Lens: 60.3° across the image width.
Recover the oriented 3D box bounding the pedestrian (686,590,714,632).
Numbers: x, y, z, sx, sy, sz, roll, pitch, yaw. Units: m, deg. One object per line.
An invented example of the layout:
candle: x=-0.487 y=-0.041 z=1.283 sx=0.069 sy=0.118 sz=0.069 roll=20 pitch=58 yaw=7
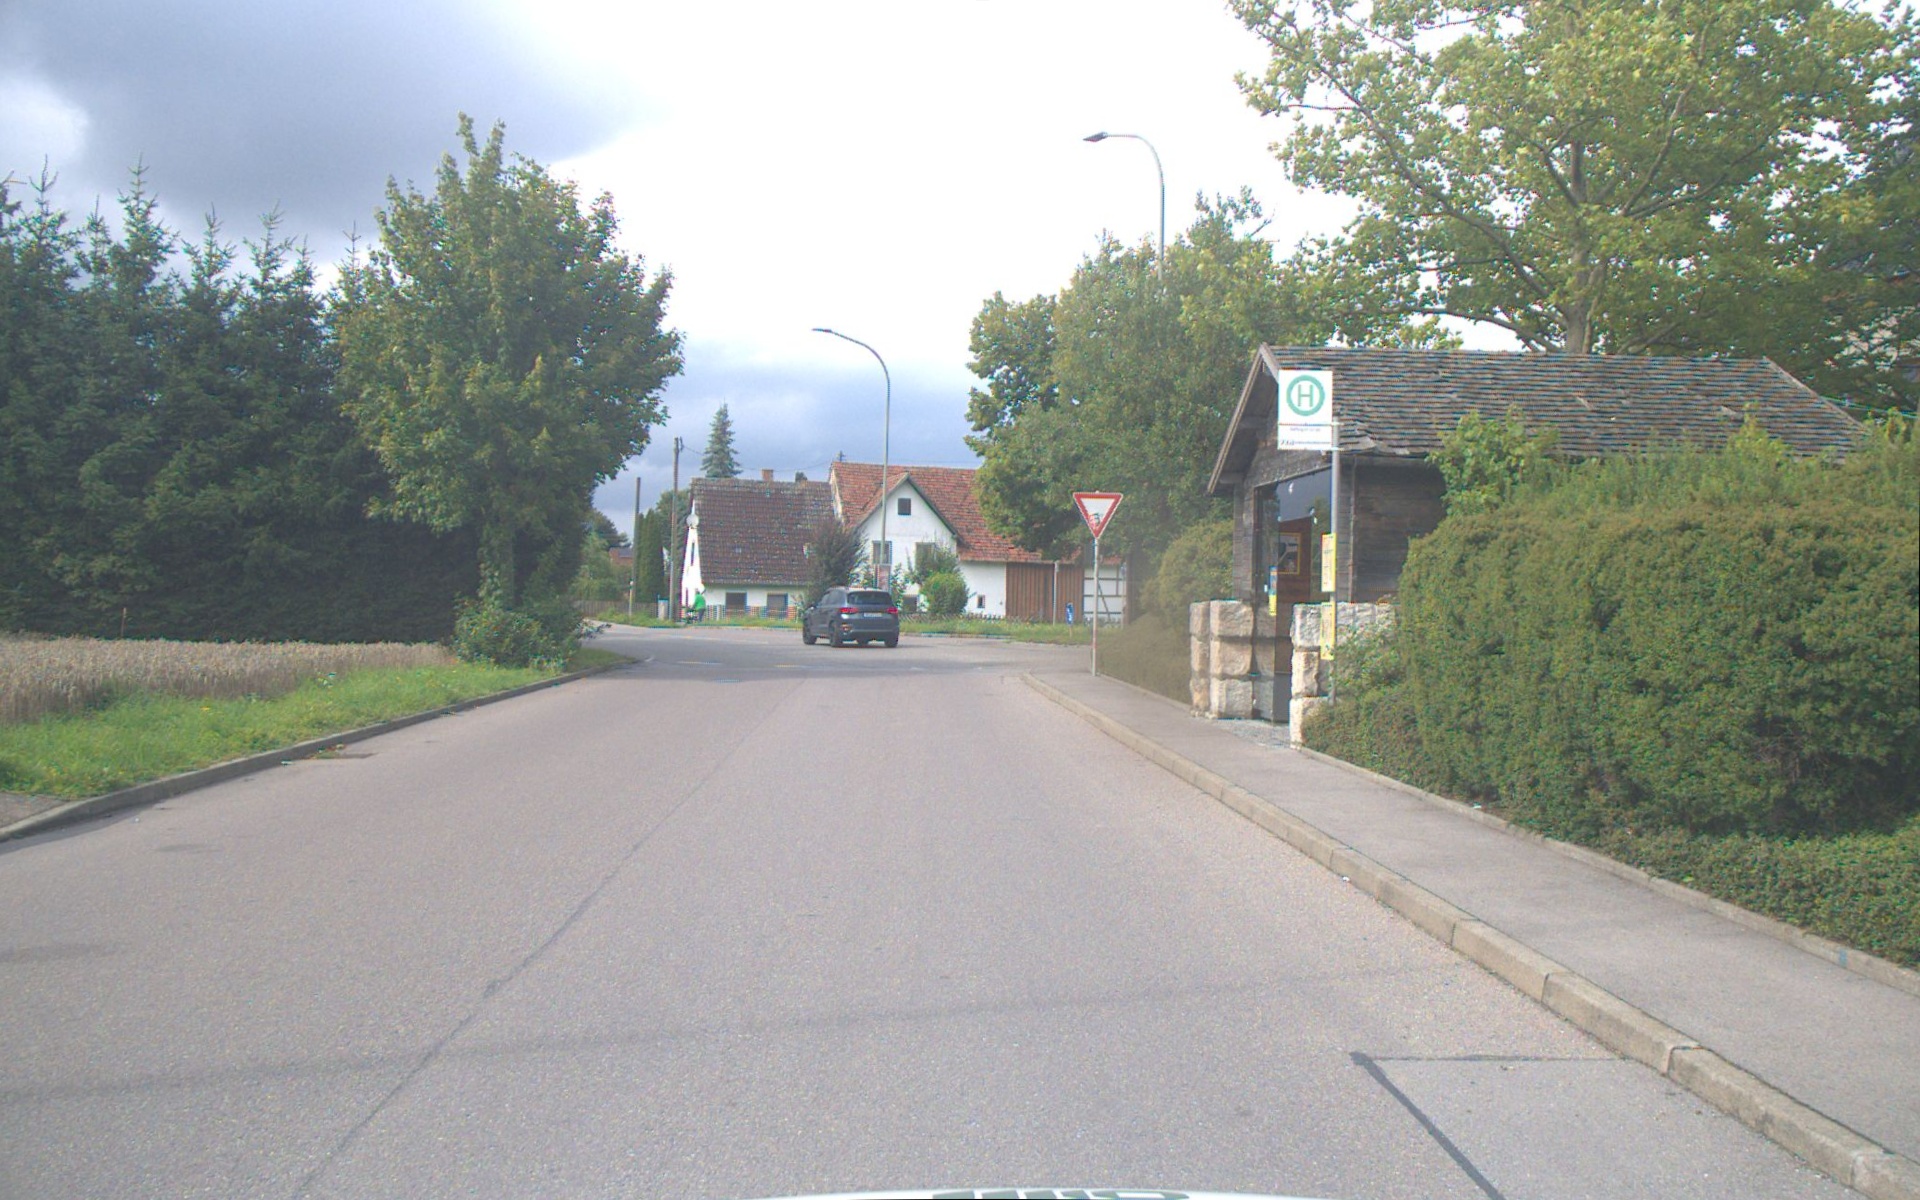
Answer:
pedestrian: x=-10.839 y=0.465 z=68.976 sx=0.782 sy=1.694 sz=0.703 roll=6 pitch=-3 yaw=-35

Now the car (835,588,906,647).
car: x=-2.453 y=0.443 z=44.530 sx=1.763 sy=1.488 sz=3.658 roll=1 pitch=0 yaw=-5

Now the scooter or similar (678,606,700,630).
scooter or similar: x=-11.370 y=0.764 z=69.455 sx=0.625 sy=0.964 sz=0.615 roll=6 pitch=-3 yaw=-35
